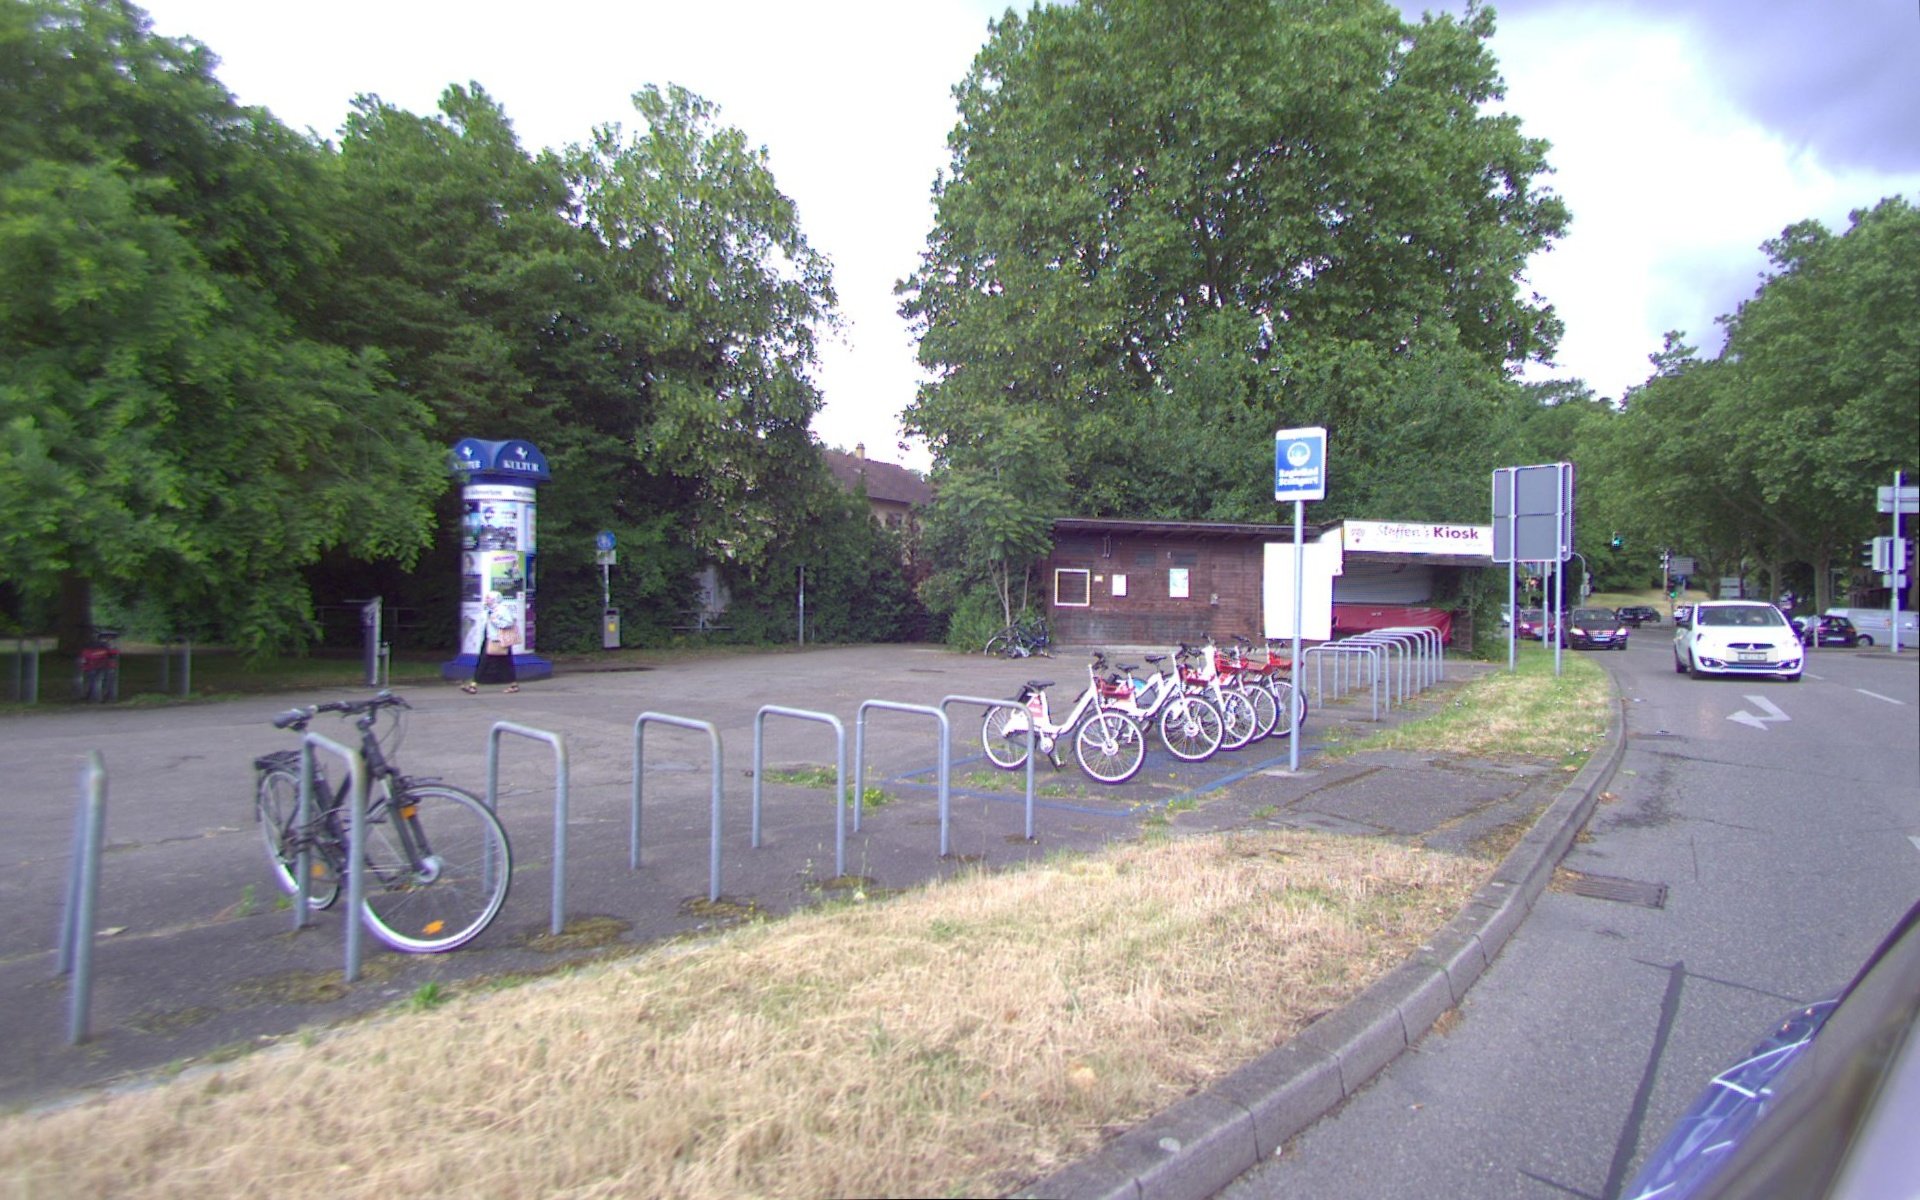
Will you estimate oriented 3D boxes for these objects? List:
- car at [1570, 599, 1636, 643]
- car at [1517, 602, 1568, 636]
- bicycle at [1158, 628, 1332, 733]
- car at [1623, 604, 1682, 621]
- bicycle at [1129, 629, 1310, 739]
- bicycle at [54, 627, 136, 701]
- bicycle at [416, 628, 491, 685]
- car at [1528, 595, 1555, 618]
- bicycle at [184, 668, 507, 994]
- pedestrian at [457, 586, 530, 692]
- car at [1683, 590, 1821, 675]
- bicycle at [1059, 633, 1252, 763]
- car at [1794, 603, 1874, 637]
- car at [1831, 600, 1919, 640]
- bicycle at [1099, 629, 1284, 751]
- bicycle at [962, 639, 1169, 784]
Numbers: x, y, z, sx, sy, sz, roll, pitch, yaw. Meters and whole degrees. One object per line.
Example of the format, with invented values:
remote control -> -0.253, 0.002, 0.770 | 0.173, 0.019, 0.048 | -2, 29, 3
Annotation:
car -> 24.091, 0.771, 38.021 | 1.705, 1.551, 4.146 | 0, -1, 28
car -> 30.694, 0.953, 53.402 | 1.877, 1.637, 4.471 | 0, 1, 24
bicycle -> 3.271, 0.893, 11.734 | 1.875, 1.065, 0.589 | 0, 1, 41
car -> 50.800, 0.932, 74.329 | 3.456, 1.228, 1.579 | 0, -1, 30
bicycle -> 2.842, 0.885, 11.210 | 1.875, 1.065, 0.589 | 0, 1, 41
bicycle -> -11.334, 0.810, 13.240 | 1.729, 0.867, 0.471 | 1, -1, 38
bicycle -> -8.562, 0.929, 17.079 | 1.649, 0.867, 0.471 | 1, -1, 38
car -> 44.303, 0.480, 77.178 | 1.658, 1.637, 3.603 | 0, 1, 28
bicycle -> -2.700, 0.879, 4.378 | 1.690, 1.058, 0.600 | 0, 0, 37
pedestrian -> -6.963, 0.560, 15.121 | 0.666, 1.533, 0.746 | 0, 0, 34
car -> 15.051, 0.580, 19.415 | 1.661, 1.466, 3.563 | -1, -1, 32
bicycle -> 1.914, 0.926, 10.052 | 1.803, 1.130, 0.574 | 0, 1, 36
car -> 35.863, 0.791, 41.635 | 1.658, 1.331, 3.604 | 0, 0, 27
car -> 44.260, 0.945, 47.485 | 4.814, 1.720, 1.726 | 1, 1, 12
bicycle -> 2.408, 0.902, 10.636 | 1.803, 1.130, 0.574 | 0, 1, 36
bicycle -> 0.923, 0.948, 9.130 | 1.803, 1.130, 0.574 | 0, 1, 36
